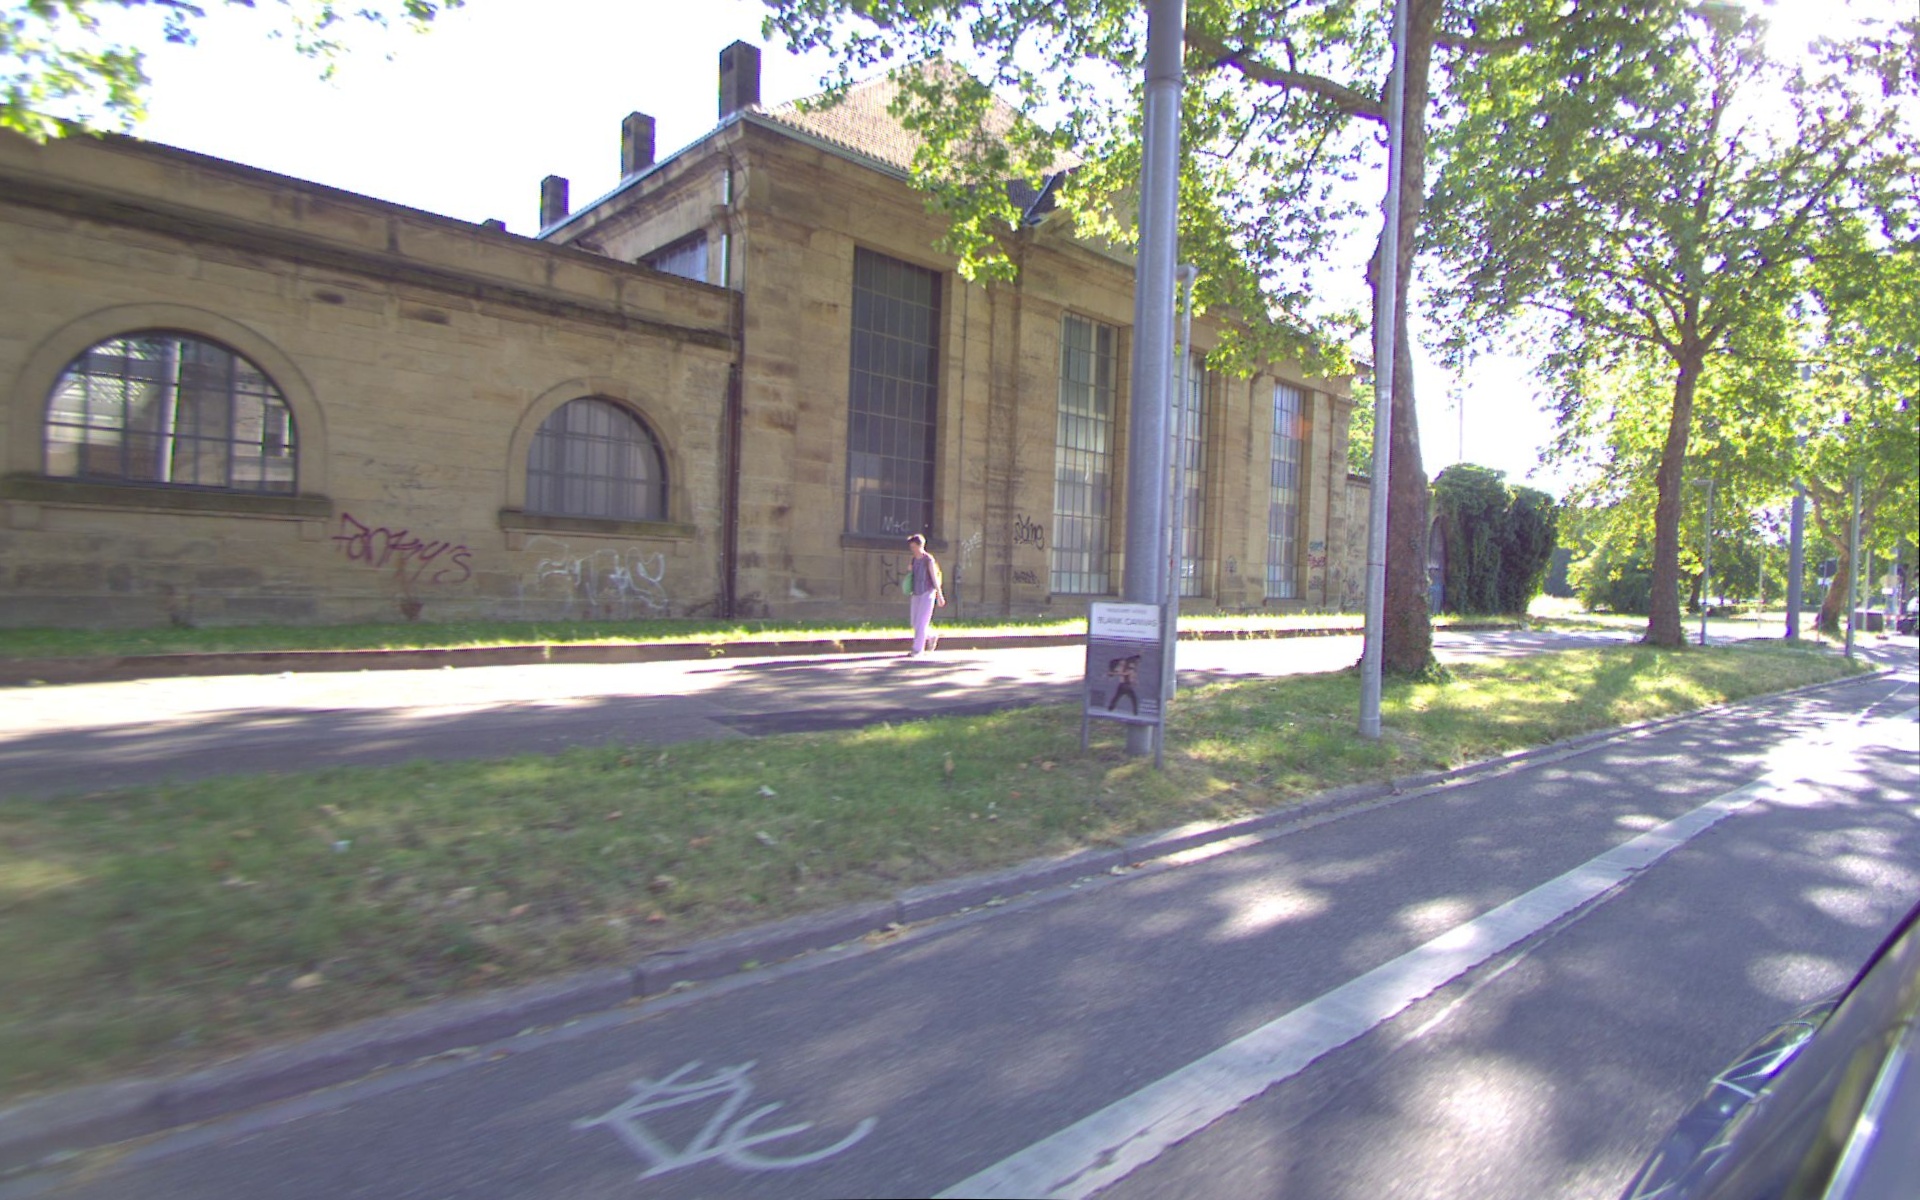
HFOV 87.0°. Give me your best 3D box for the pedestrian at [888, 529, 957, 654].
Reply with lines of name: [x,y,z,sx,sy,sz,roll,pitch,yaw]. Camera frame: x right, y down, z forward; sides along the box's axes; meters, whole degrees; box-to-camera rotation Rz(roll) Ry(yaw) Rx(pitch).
pedestrian: [-0.532,-0.129,14.377,0.609,1.701,0.626,8,5,45]

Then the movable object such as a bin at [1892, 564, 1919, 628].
movable object such as a bin: [51.120,-0.097,52.889,7.095,3.183,2.750,1,5,-43]
